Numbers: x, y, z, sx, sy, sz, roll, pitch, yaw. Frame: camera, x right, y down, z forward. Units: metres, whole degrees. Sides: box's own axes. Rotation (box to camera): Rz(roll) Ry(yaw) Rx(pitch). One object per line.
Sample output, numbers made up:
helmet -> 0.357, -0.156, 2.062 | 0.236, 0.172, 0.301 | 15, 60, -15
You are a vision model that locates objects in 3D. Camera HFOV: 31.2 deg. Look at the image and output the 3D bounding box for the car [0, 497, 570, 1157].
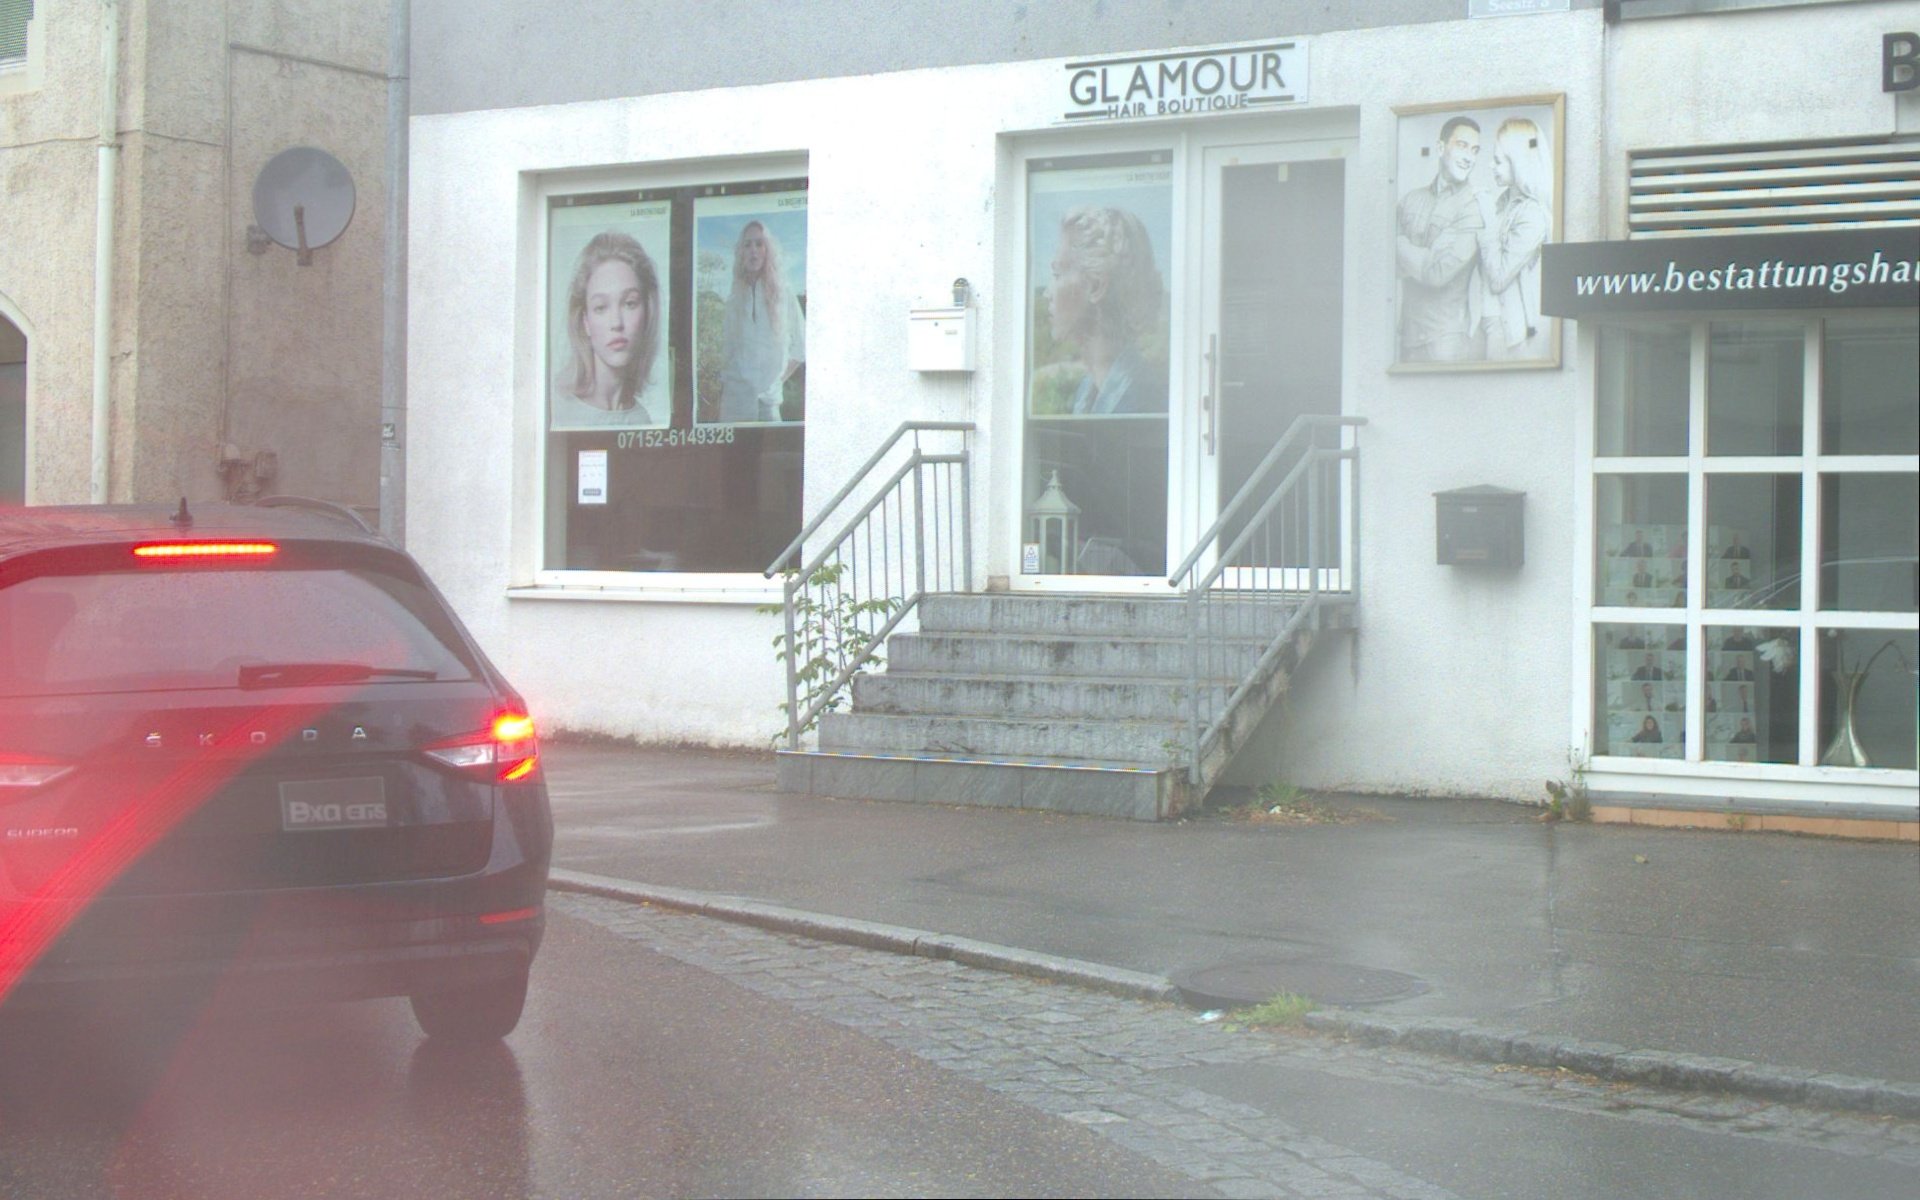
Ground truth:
car -> -2.573, 0.459, 10.004 | 1.732, 1.445, 4.243 | -1, 3, -23
